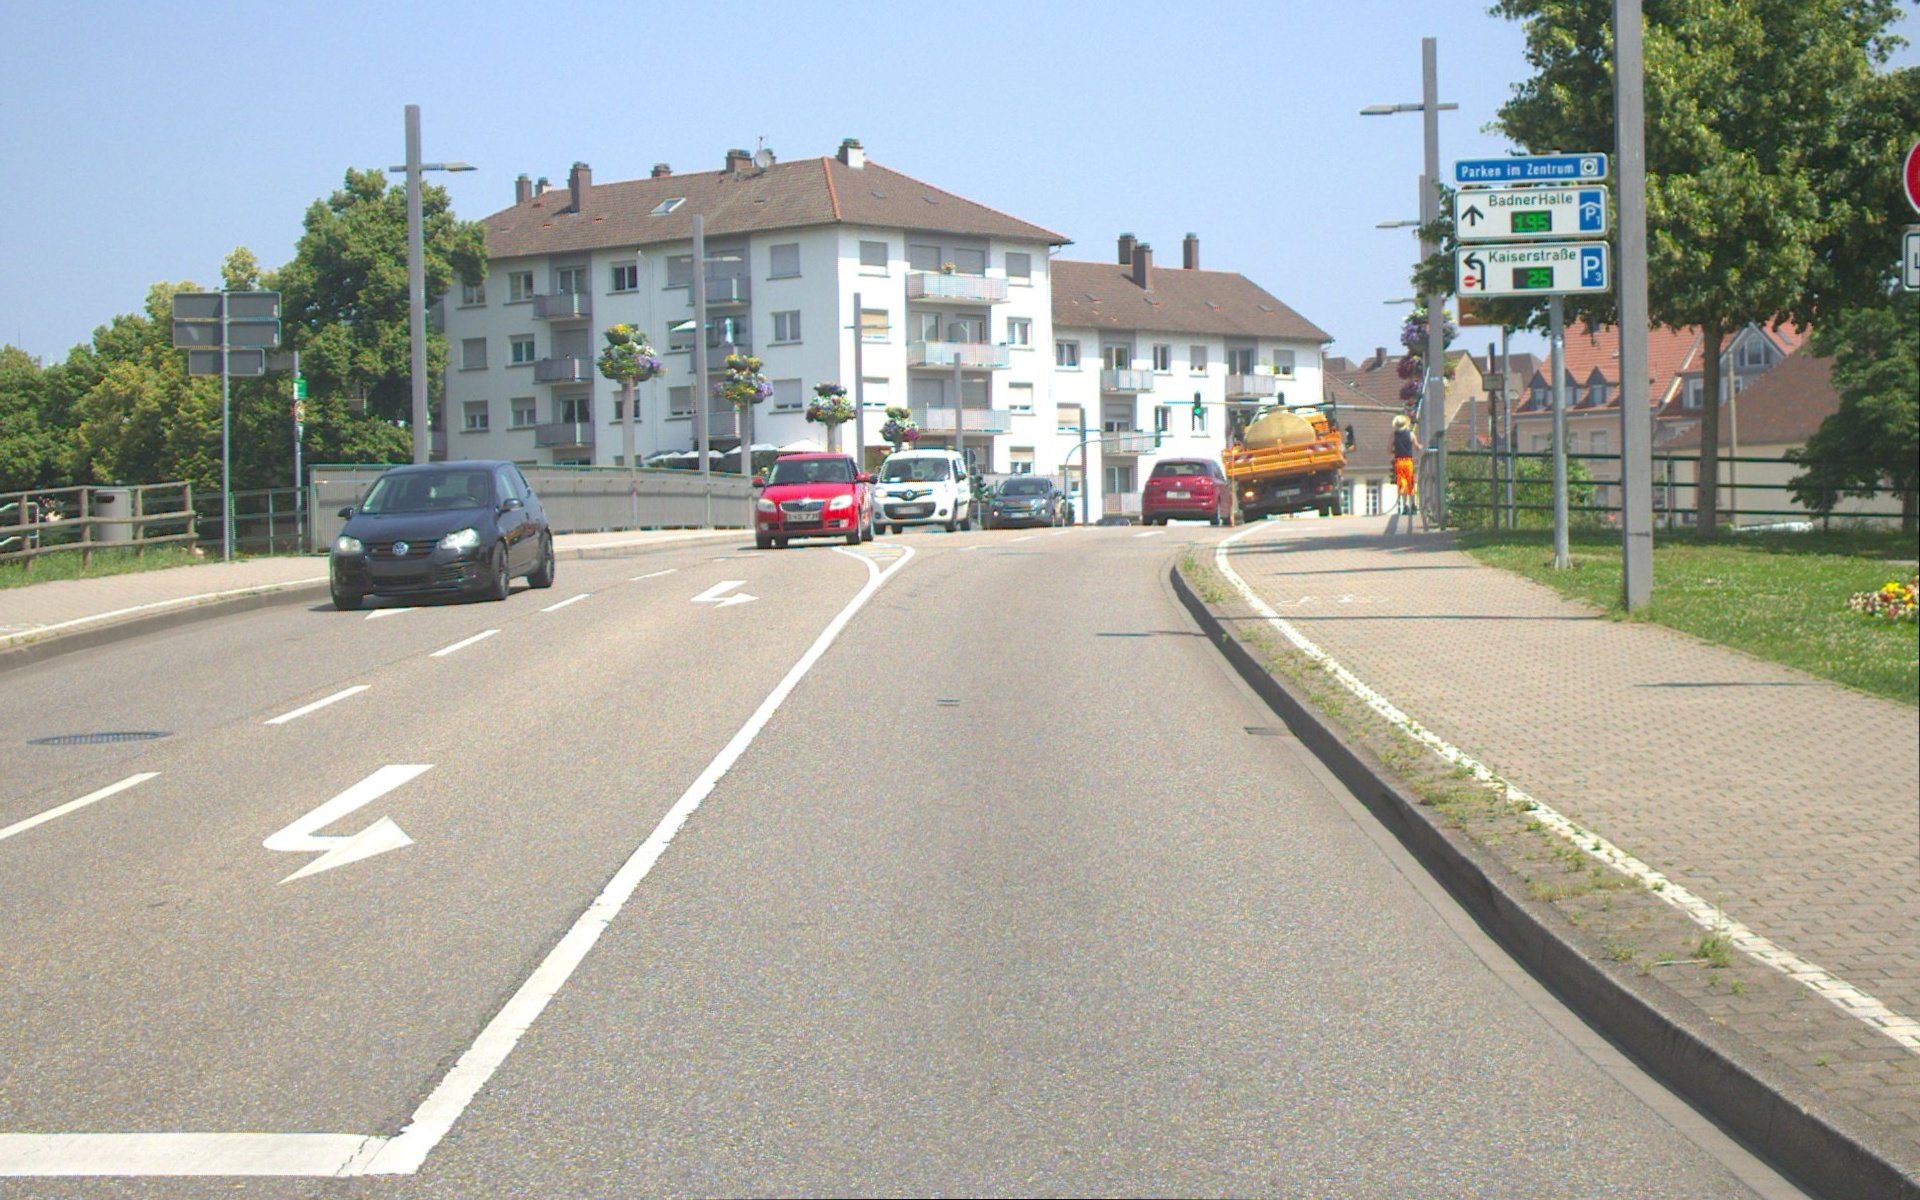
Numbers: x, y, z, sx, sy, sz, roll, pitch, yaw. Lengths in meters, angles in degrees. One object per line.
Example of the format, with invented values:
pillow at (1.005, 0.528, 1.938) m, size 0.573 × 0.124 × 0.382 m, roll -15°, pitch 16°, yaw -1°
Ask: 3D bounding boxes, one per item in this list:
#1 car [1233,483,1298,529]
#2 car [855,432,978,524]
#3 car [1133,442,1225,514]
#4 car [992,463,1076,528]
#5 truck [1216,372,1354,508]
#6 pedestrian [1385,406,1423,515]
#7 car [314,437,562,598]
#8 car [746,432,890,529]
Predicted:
car at (10.376, -3.169, 116.511) m, size 2.038 × 1.498 × 4.416 m, roll 0°, pitch 1°, yaw 7°
car at (-0.903, -2.651, 74.488) m, size 1.837 × 1.853 × 4.662 m, roll -2°, pitch 2°, yaw 9°
car at (5.227, -2.871, 81.561) m, size 1.990 × 1.607 × 4.342 m, roll -2°, pitch 1°, yaw 6°
car at (2.053, -2.871, 94.330) m, size 1.737 × 1.635 × 3.920 m, roll -3°, pitch 1°, yaw 8°
truck at (6.925, -3.324, 72.617) m, size 2.606 × 2.682 × 5.821 m, roll -1°, pitch 1°, yaw 8°
pedestrian at (8.052, -2.528, 62.402) m, size 0.546 × 1.953 × 0.673 m, roll -1°, pitch 0°, yaw -2°
car at (-5.502, -0.925, 36.681) m, size 1.714 × 1.480 × 4.032 m, roll -2°, pitch 4°, yaw 4°
car at (-2.223, -1.877, 54.715) m, size 1.647 × 1.459 × 3.860 m, roll -1°, pitch 1°, yaw 7°
